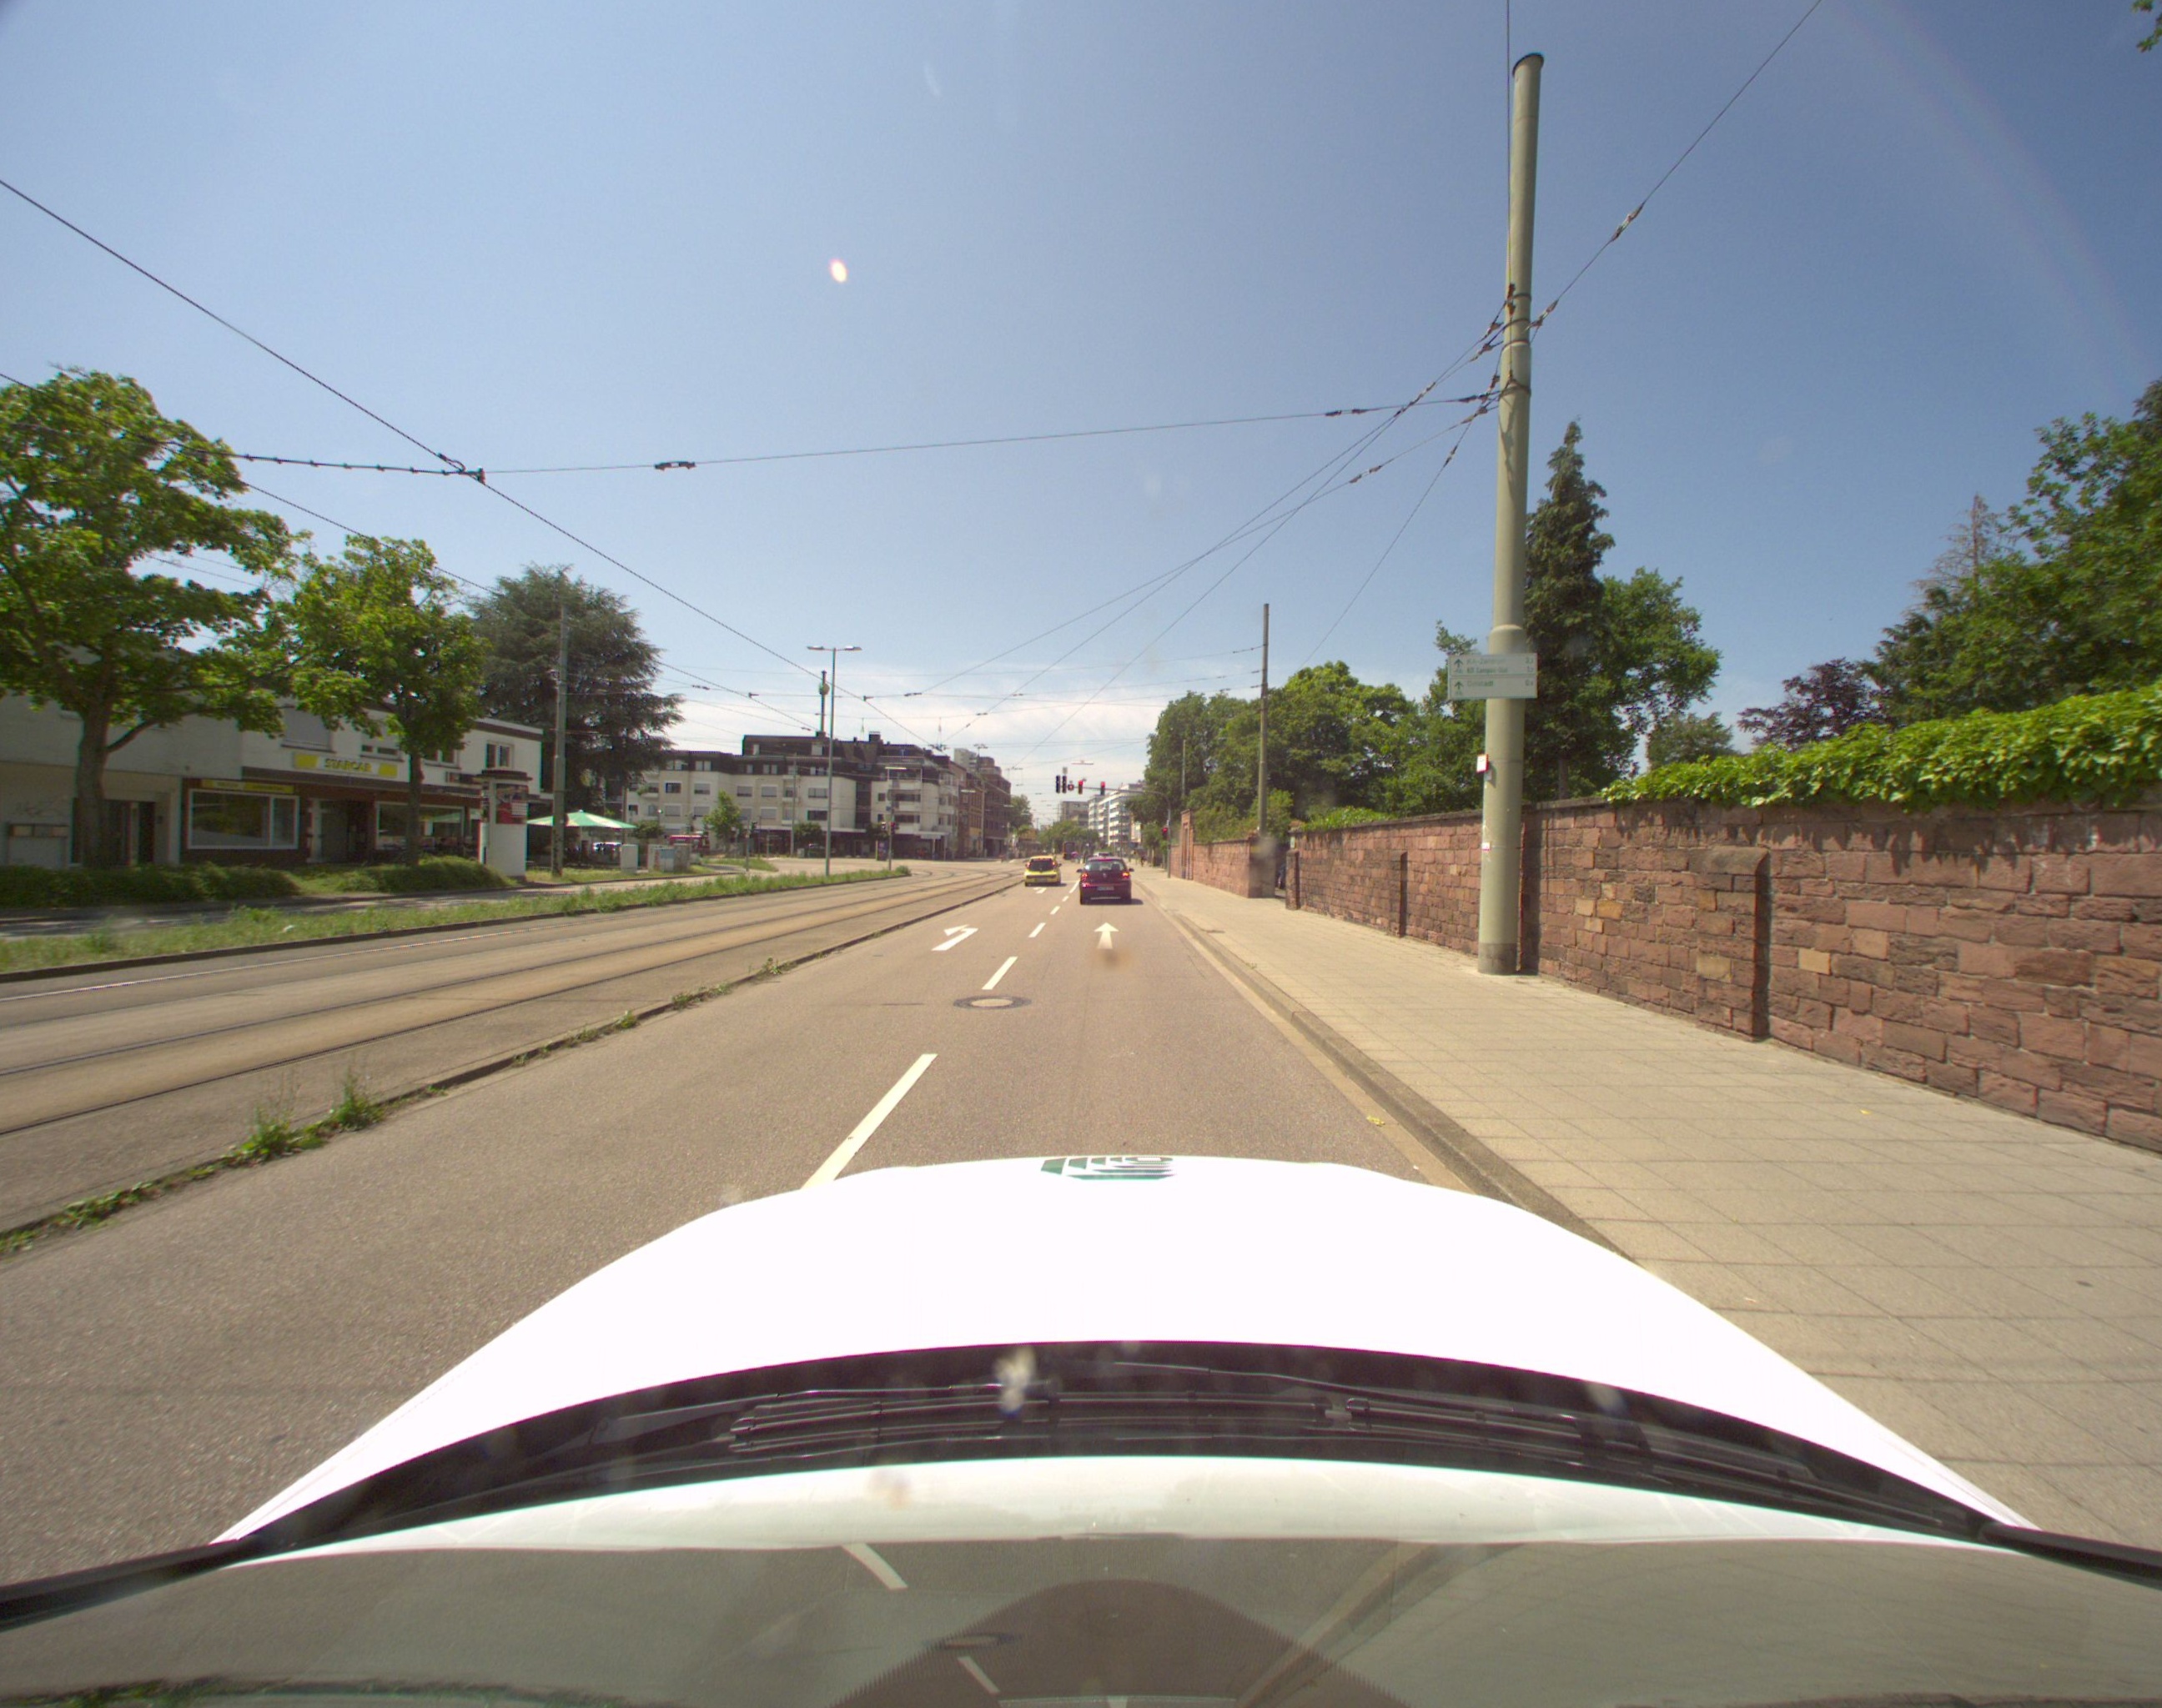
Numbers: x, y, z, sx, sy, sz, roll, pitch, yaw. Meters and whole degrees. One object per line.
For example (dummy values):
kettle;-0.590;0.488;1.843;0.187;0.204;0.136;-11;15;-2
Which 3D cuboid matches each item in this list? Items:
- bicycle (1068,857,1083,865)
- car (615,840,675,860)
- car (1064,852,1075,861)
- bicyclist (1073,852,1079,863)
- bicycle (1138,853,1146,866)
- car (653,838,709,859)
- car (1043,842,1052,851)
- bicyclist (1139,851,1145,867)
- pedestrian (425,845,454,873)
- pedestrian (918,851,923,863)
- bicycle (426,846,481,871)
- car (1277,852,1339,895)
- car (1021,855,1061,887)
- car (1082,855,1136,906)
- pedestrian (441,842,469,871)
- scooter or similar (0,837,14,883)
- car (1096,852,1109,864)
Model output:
bicycle;-0.742;0.917;105.525;1.861;1.008;0.578;0;-1;-3
car;-36.778;-0.297;68.708;4.519;1.610;1.737;-1;-1;17
car;-2.085;0.455;151.977;1.931;1.641;4.001;0;-1;1
bicyclist;-0.611;0.462;105.509;0.764;1.406;0.506;0;-1;-2
bicycle;7.226;0.662;96.917;0.831;1.525;4.002;0;-1;2
car;-44.163;-0.584;90.100;5.047;2.341;2.244;0;-1;0
car;-7.844;-1.723;189.493;1.728;2.013;4.002;1;0;2
bicyclist;7.182;0.583;95.858;0.719;1.818;0.889;0;-1;2
pedestrian;-28.783;0.223;36.534;0.587;1.268;0.842;0;-1;2
pedestrian;-20.745;0.368;105.281;0.541;1.541;0.479;1;-1;-43
bicycle;-25.251;0.189;32.822;0.608;0.979;2.030;0;-1;2
car;8.473;0.702;30.625;1.476;1.482;2.944;1;0;0
car;-1.904;0.800;39.725;1.717;1.445;3.293;-1;1;1
car;0.902;0.802;26.517;1.604;1.463;4.086;-1;0;1
pedestrian;-28.139;0.126;36.599;0.587;1.268;0.842;0;-1;2
scooter or similar;-28.456;0.158;20.808;0.450;1.191;1.352;-1;-1;22
car;2.586;0.448;97.462;1.567;1.415;3.721;-1;0;1
